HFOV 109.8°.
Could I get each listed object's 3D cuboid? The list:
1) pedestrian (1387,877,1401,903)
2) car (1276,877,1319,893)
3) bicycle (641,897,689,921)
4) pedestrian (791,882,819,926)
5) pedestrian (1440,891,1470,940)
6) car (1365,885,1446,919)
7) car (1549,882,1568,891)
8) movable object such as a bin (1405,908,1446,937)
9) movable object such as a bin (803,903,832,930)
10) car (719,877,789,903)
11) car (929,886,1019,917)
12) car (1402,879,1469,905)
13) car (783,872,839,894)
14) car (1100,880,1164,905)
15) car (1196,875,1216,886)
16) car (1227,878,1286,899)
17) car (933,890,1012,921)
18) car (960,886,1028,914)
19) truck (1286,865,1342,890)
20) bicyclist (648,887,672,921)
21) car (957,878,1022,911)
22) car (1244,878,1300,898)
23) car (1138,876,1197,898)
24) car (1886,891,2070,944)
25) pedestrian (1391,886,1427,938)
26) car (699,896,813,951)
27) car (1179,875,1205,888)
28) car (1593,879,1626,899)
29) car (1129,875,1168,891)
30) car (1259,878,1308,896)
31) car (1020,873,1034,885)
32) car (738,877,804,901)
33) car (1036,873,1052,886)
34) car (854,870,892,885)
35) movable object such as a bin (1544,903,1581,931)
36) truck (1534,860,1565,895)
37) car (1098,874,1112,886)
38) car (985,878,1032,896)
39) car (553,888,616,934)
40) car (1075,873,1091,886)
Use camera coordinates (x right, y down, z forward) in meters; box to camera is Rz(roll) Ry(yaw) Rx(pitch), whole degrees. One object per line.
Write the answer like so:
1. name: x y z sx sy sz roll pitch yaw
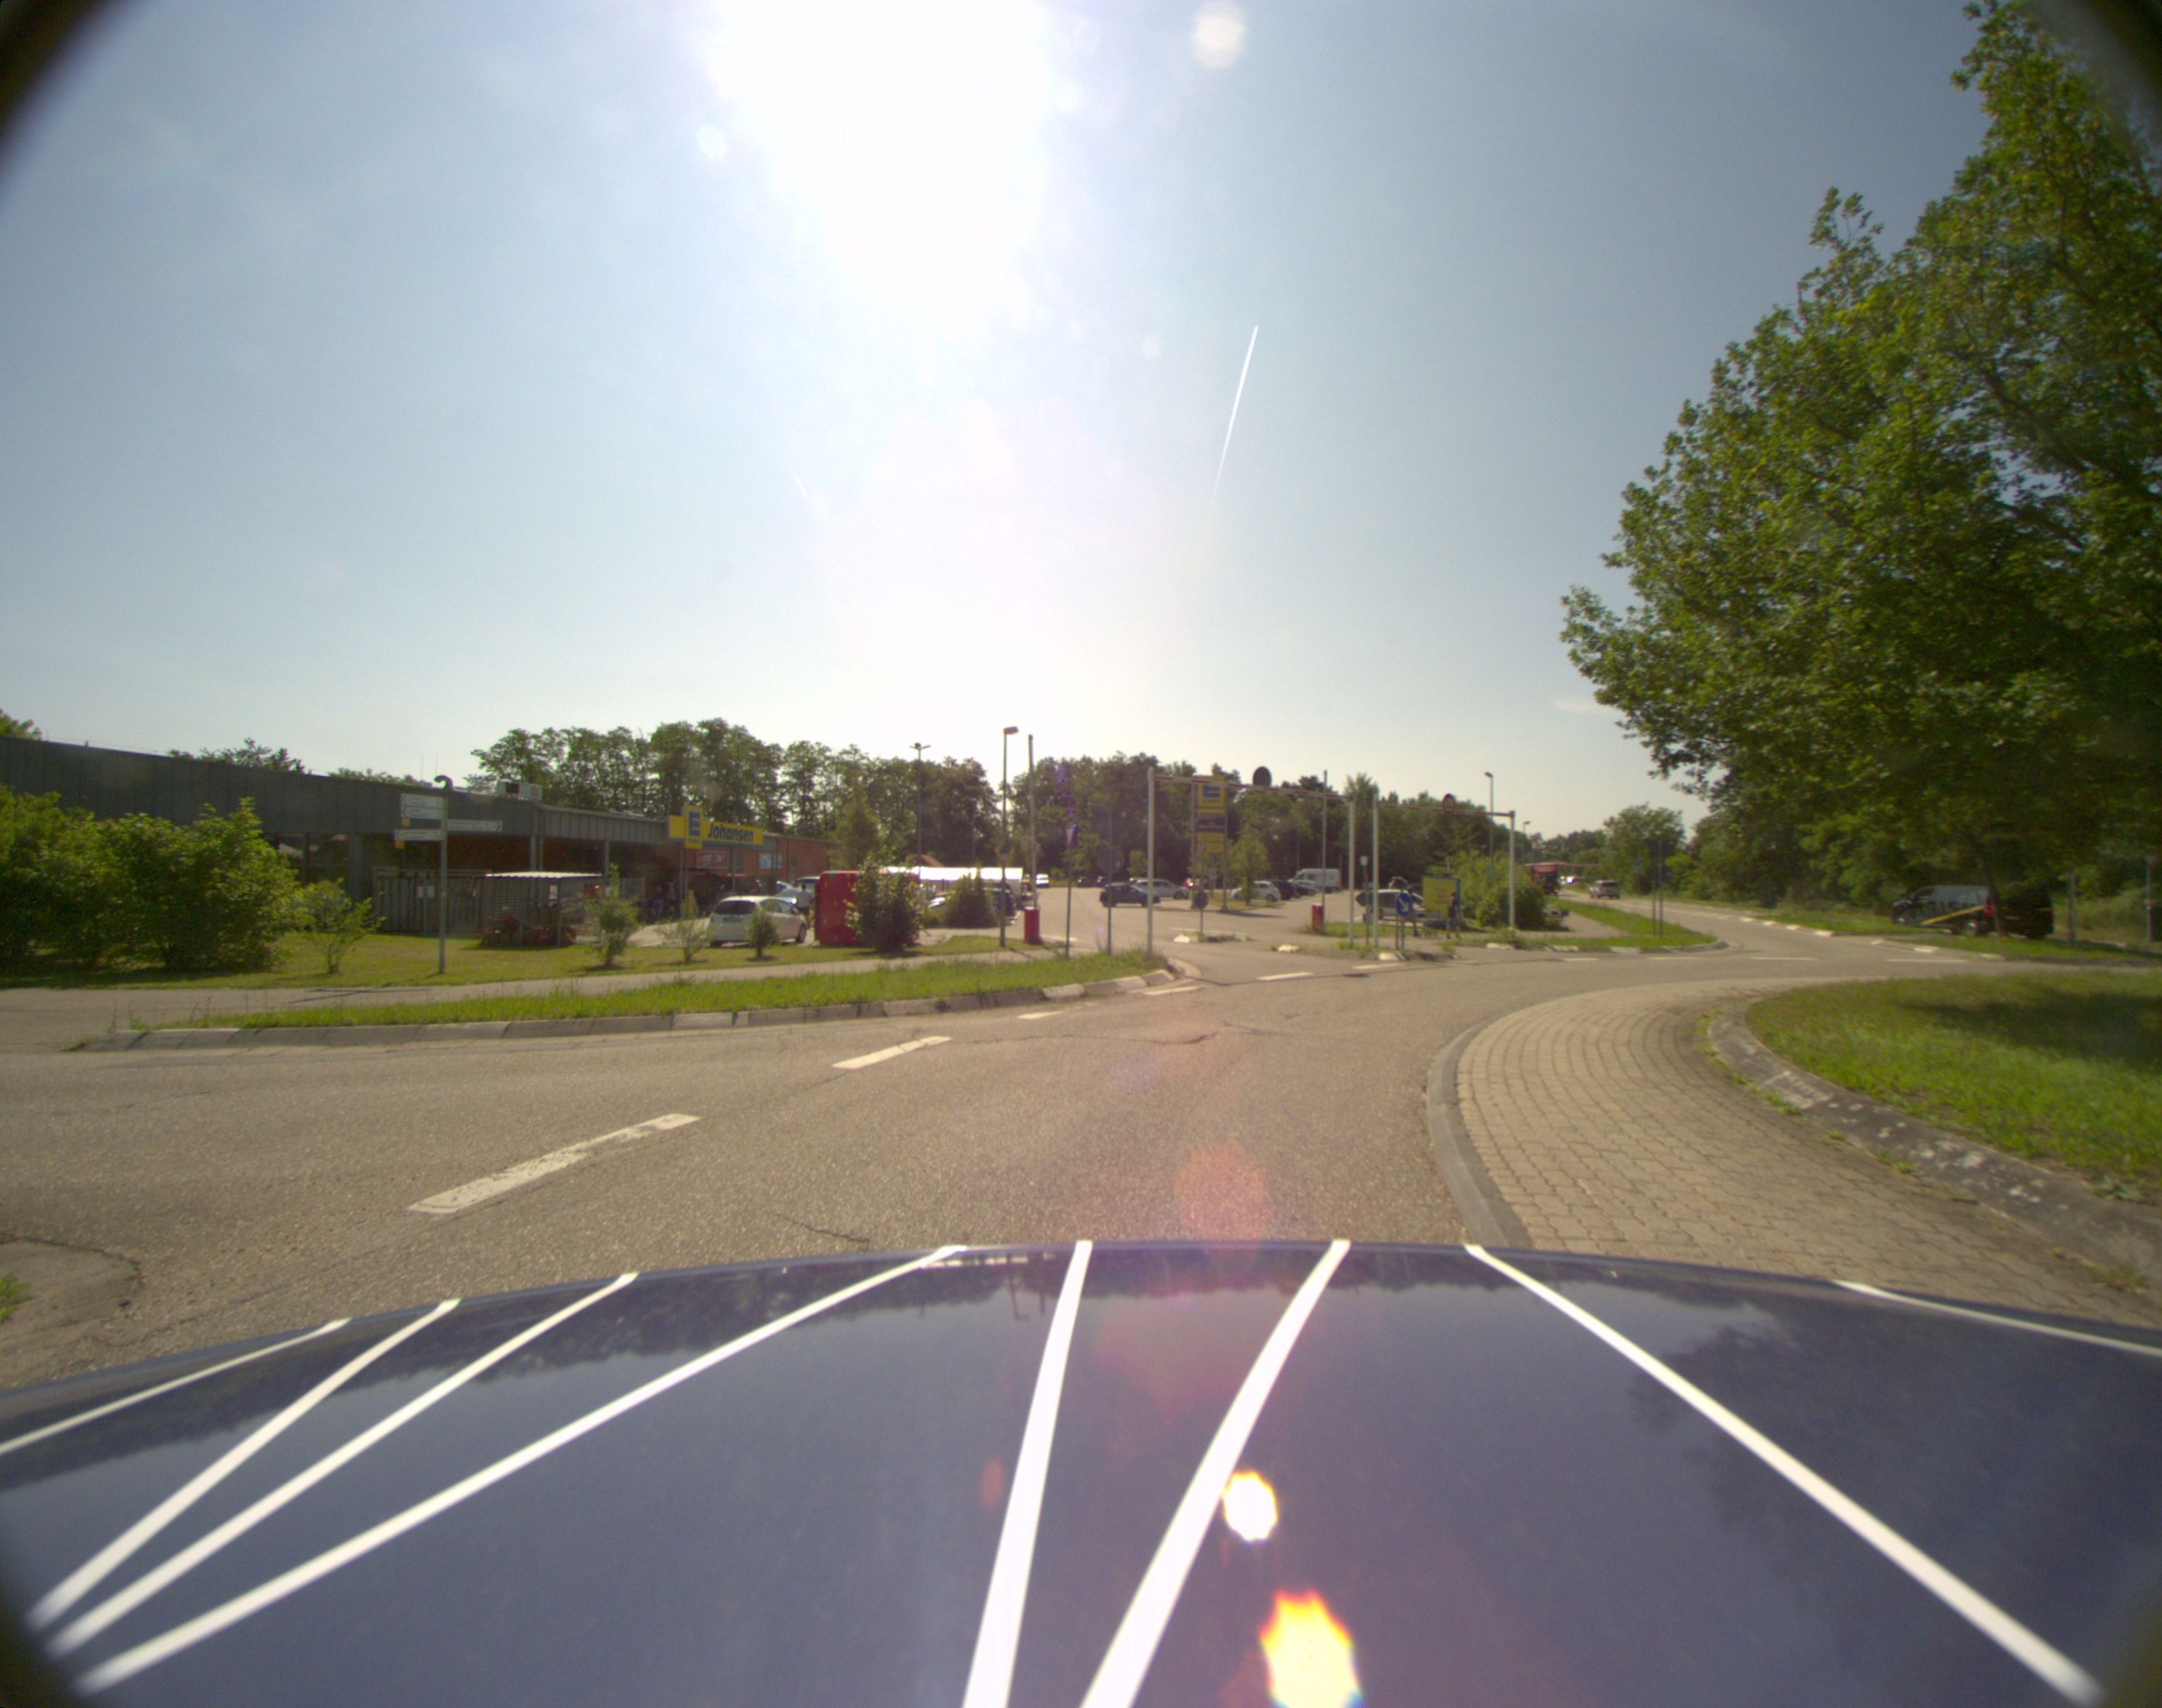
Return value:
1. pedestrian: 22.044 2.551 53.514 0.819 1.786 0.868 0 -1 27
2. car: 20.959 2.971 73.584 3.967 1.444 1.907 0 -1 15
3. bicycle: -18.842 2.493 34.388 2.072 1.035 0.554 0 -1 15
4. pedestrian: -11.775 2.109 32.408 0.772 1.859 0.843 -1 -2 38
5. pedestrian: 12.791 2.097 25.994 0.597 1.638 0.702 1 -1 -33
6. car: 16.503 2.411 38.650 3.596 1.552 1.818 1 -1 27
7. car: 71.473 4.830 113.713 1.834 1.378 4.433 1 -2 24
8. movable object such as a bin: 12.481 2.470 27.527 1.206 0.949 0.878 1 -2 -35
9. movable object such as a bin: -10.786 2.560 31.121 0.770 1.040 1.038 1 -2 -43
10. car: -22.375 2.458 52.114 3.999 1.673 1.999 0 -1 -6
11. car: -5.585 2.485 39.823 4.424 1.561 1.717 0 -2 2
12. car: 24.476 2.609 52.544 4.121 1.617 1.756 0 -1 27
13. car: -22.574 2.418 63.569 3.999 1.805 1.999 1 -1 -6
14. car: 3.470 2.569 51.418 3.992 1.579 1.664 0 -1 17
15. car: 17.172 3.676 104.598 2.070 1.477 4.000 1 -1 -1
16. car: 13.001 2.526 56.410 3.990 1.433 1.654 0 -1 24
17. car: -5.241 2.473 36.897 3.488 1.449 1.717 0 -2 5
18. car: -4.880 2.586 42.809 3.488 1.488 1.717 0 -2 5
19. truck: 25.548 2.542 83.228 5.603 2.589 2.207 0 -1 24
20. bicyclist: -19.063 2.255 34.415 0.676 1.505 0.608 0 -1 15
21. car: -5.436 2.420 45.452 3.488 1.917 1.880 0 -2 5
22. car: 15.409 2.705 61.332 4.156 1.564 2.004 -1 -2 22
23. car: 7.118 2.727 62.770 4.557 1.692 2.000 -2 -1 -2
24. car: 32.889 2.249 28.120 2.097 1.704 4.725 0 -2 15
25. pedestrian: 11.630 2.037 26.944 0.844 1.774 0.878 1 -1 -34
26. car: -9.646 2.021 22.888 1.724 1.437 3.773 1 -2 1
27. car: 13.231 3.319 90.970 1.999 1.456 4.493 1 -1 -5
28. car: 51.158 3.356 73.673 1.895 1.805 4.605 0 -1 25
29. car: 7.011 2.975 79.064 3.996 1.575 1.971 0 -1 3
30. car: 17.588 2.858 65.930 3.991 1.419 1.752 0 -1 18
31. car: -7.354 3.418 103.581 1.795 1.586 4.260 1 -1 -2
32. car: -22.080 2.500 54.243 3.999 1.673 1.999 0 -1 -6
33. car: -5.066 3.396 103.559 2.070 1.701 4.000 1 -1 -1
34. car: -23.408 2.630 85.523 3.770 1.630 1.782 1 -1 0
35. movable object such as a bin: 20.572 2.689 32.480 1.458 1.113 0.868 1 -2 -37
36. truck: 54.236 2.732 88.055 2.715 3.891 5.964 0 -1 28
37. car: 3.296 3.549 103.362 1.661 1.477 4.373 1 -1 -1
38. car: -6.647 3.049 69.995 3.996 1.651 2.001 0 -2 4
39. car: -18.438 2.110 28.263 1.130 1.625 1.829 0 -1 -1
40. car: 0.280 3.537 104.030 2.070 1.701 4.000 1 -1 -1
